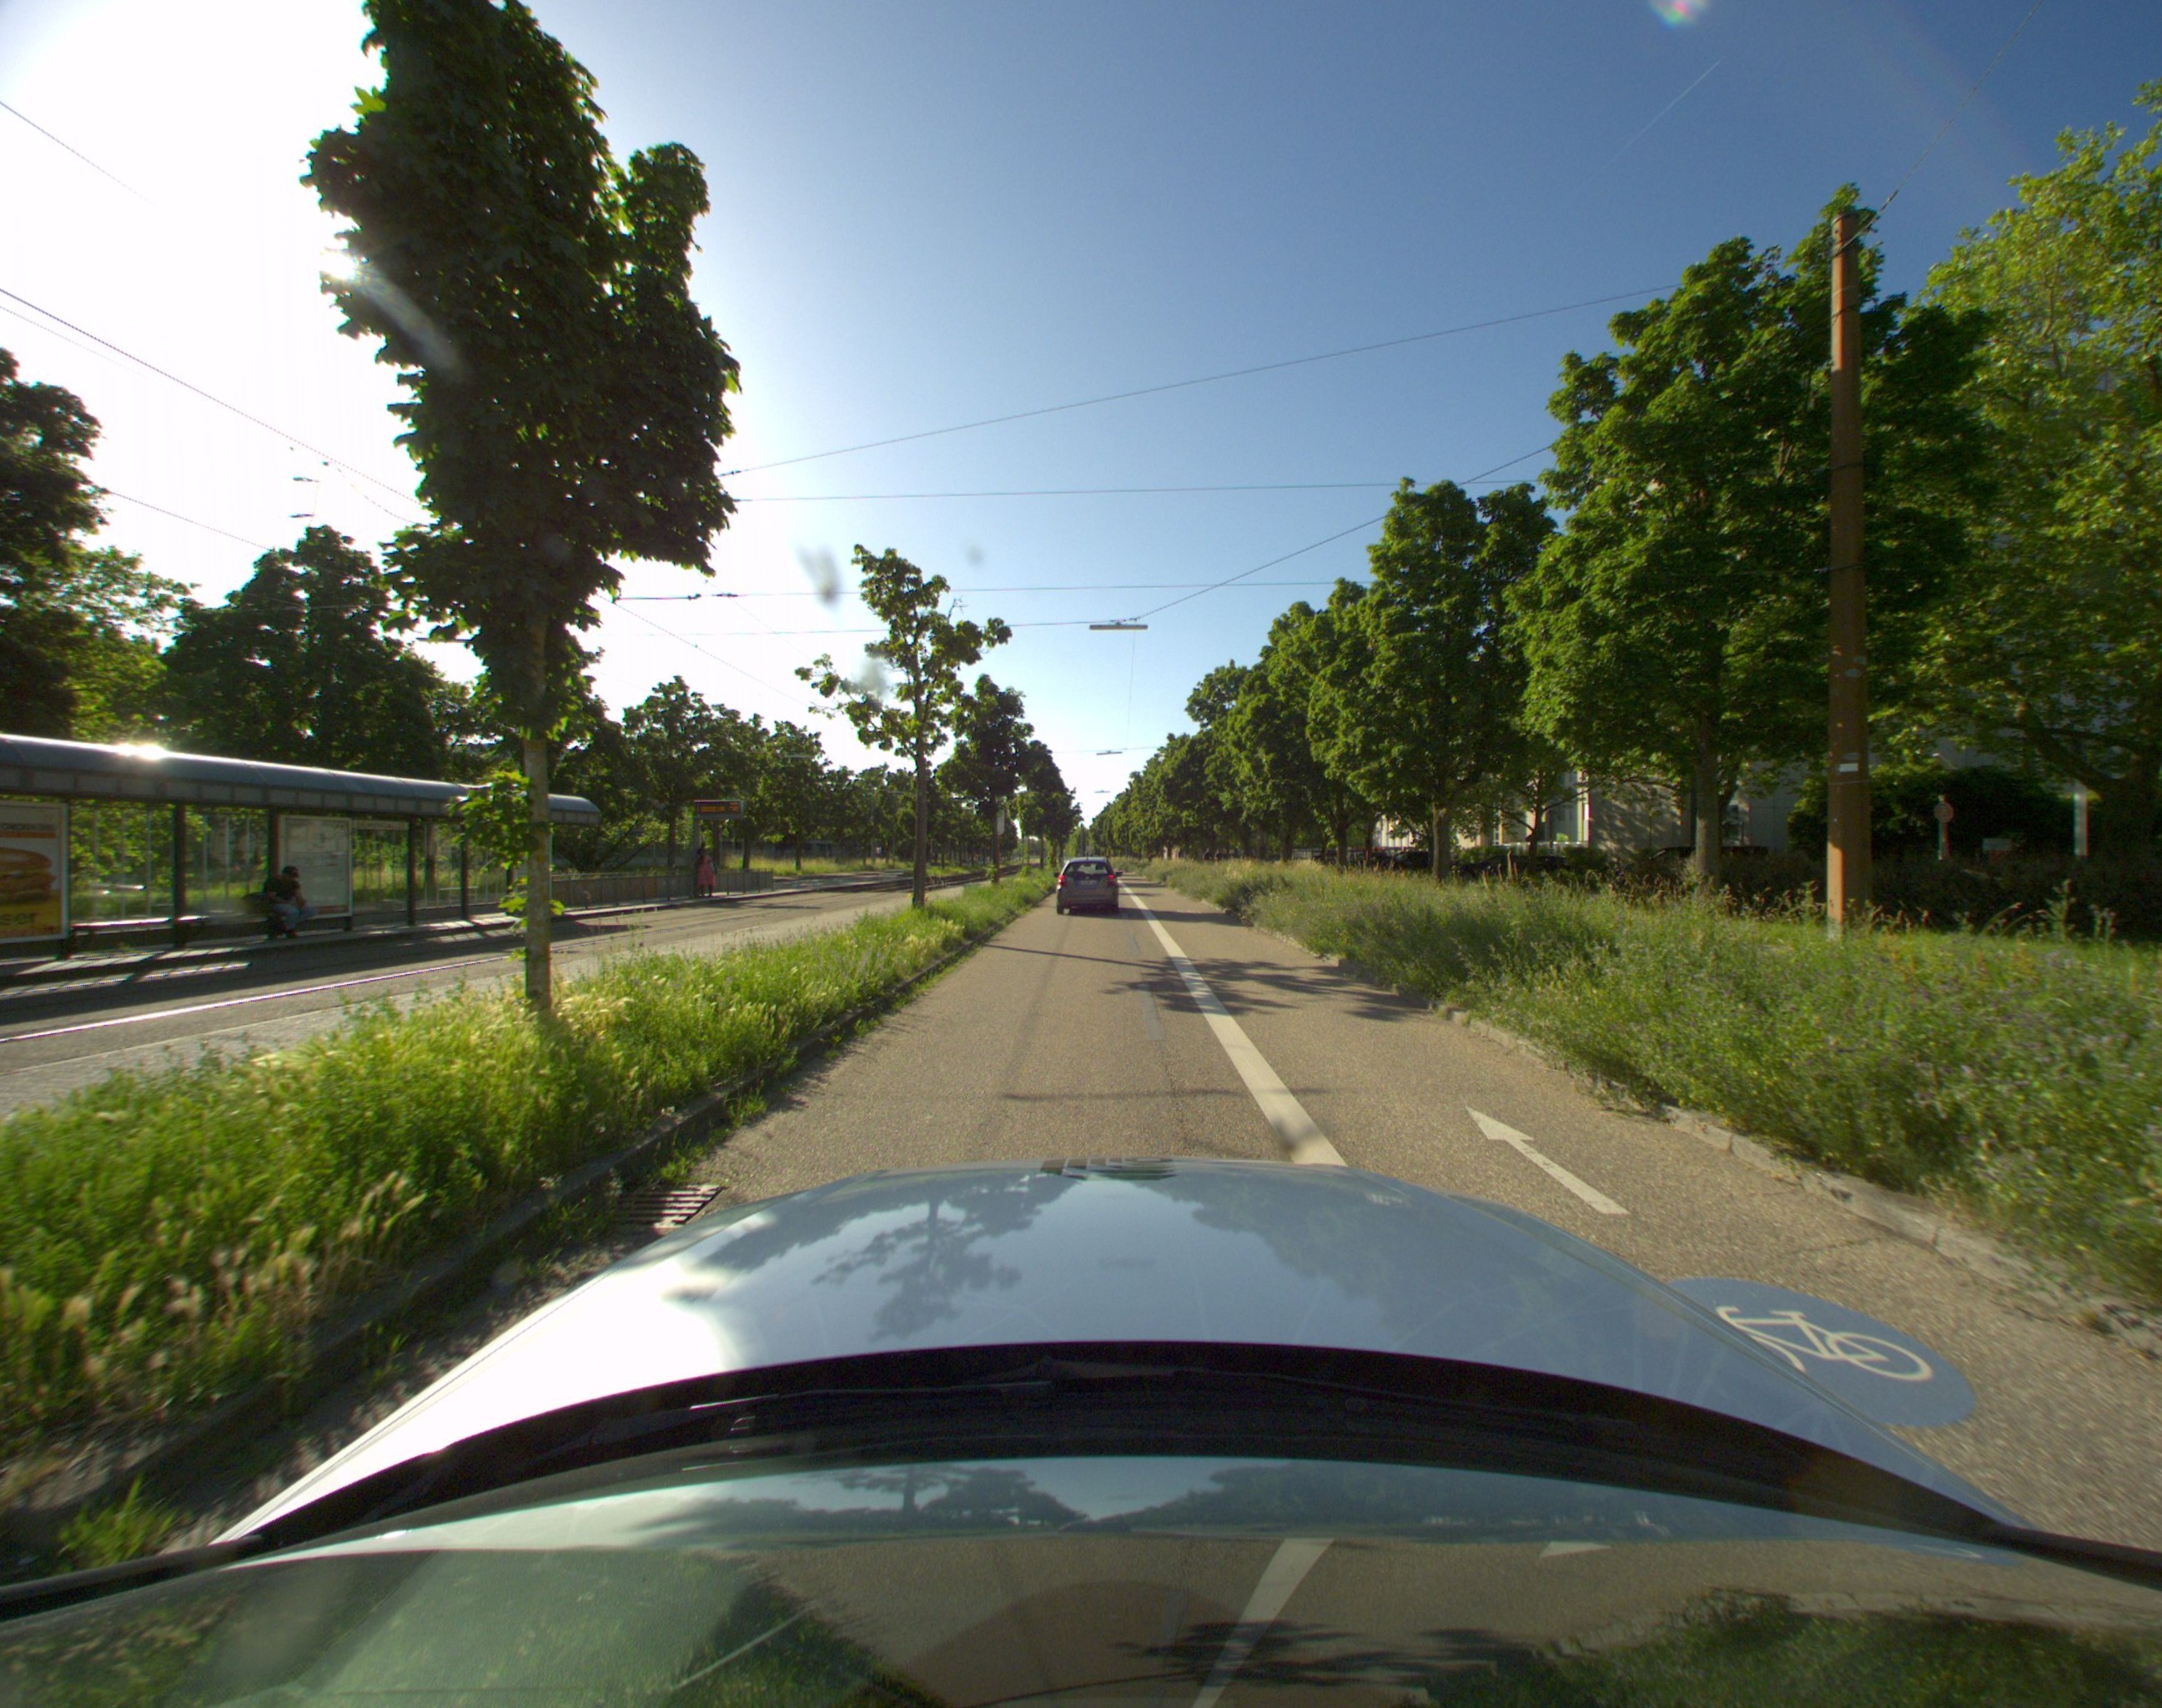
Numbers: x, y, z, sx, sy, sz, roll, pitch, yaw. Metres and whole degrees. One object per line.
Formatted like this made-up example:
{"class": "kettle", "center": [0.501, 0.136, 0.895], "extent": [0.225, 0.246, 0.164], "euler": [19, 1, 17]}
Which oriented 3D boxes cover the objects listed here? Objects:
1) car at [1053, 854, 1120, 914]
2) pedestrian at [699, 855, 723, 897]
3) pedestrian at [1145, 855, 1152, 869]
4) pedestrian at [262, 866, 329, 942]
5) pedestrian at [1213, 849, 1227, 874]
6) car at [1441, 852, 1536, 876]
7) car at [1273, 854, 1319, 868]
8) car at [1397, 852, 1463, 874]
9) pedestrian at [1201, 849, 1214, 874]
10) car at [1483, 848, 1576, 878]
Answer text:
{"class": "car", "center": [0.240, 0.819, 22.934], "extent": [1.694, 1.524, 3.712], "euler": [1, -2, 3]}
{"class": "pedestrian", "center": [-12.980, 0.778, 28.592], "extent": [0.542, 1.448, 0.560], "euler": [-1, -1, 3]}
{"class": "pedestrian", "center": [8.250, 1.015, 99.366], "extent": [0.722, 1.690, 0.821], "euler": [0, -1, 1]}
{"class": "pedestrian", "center": [-13.519, 0.846, 14.021], "extent": [0.561, 1.257, 0.581], "euler": [-2, -1, 2]}
{"class": "pedestrian", "center": [10.658, 0.574, 62.572], "extent": [0.879, 1.884, 0.875], "euler": [0, -1, -1]}
{"class": "car", "center": [23.754, 0.574, 47.512], "extent": [4.625, 1.327, 2.105], "euler": [-1, -1, 37]}
{"class": "car", "center": [24.062, 0.742, 91.397], "extent": [4.621, 1.556, 1.998], "euler": [0, -1, -3]}
{"class": "car", "center": [24.929, 0.664, 58.223], "extent": [3.948, 1.513, 2.013], "euler": [-1, -1, 38]}
{"class": "pedestrian", "center": [9.723, 0.586, 62.601], "extent": [0.879, 1.884, 0.875], "euler": [0, -1, -1]}
{"class": "car", "center": [24.292, 0.463, 44.153], "extent": [4.177, 1.556, 1.940], "euler": [-1, -1, 38]}
